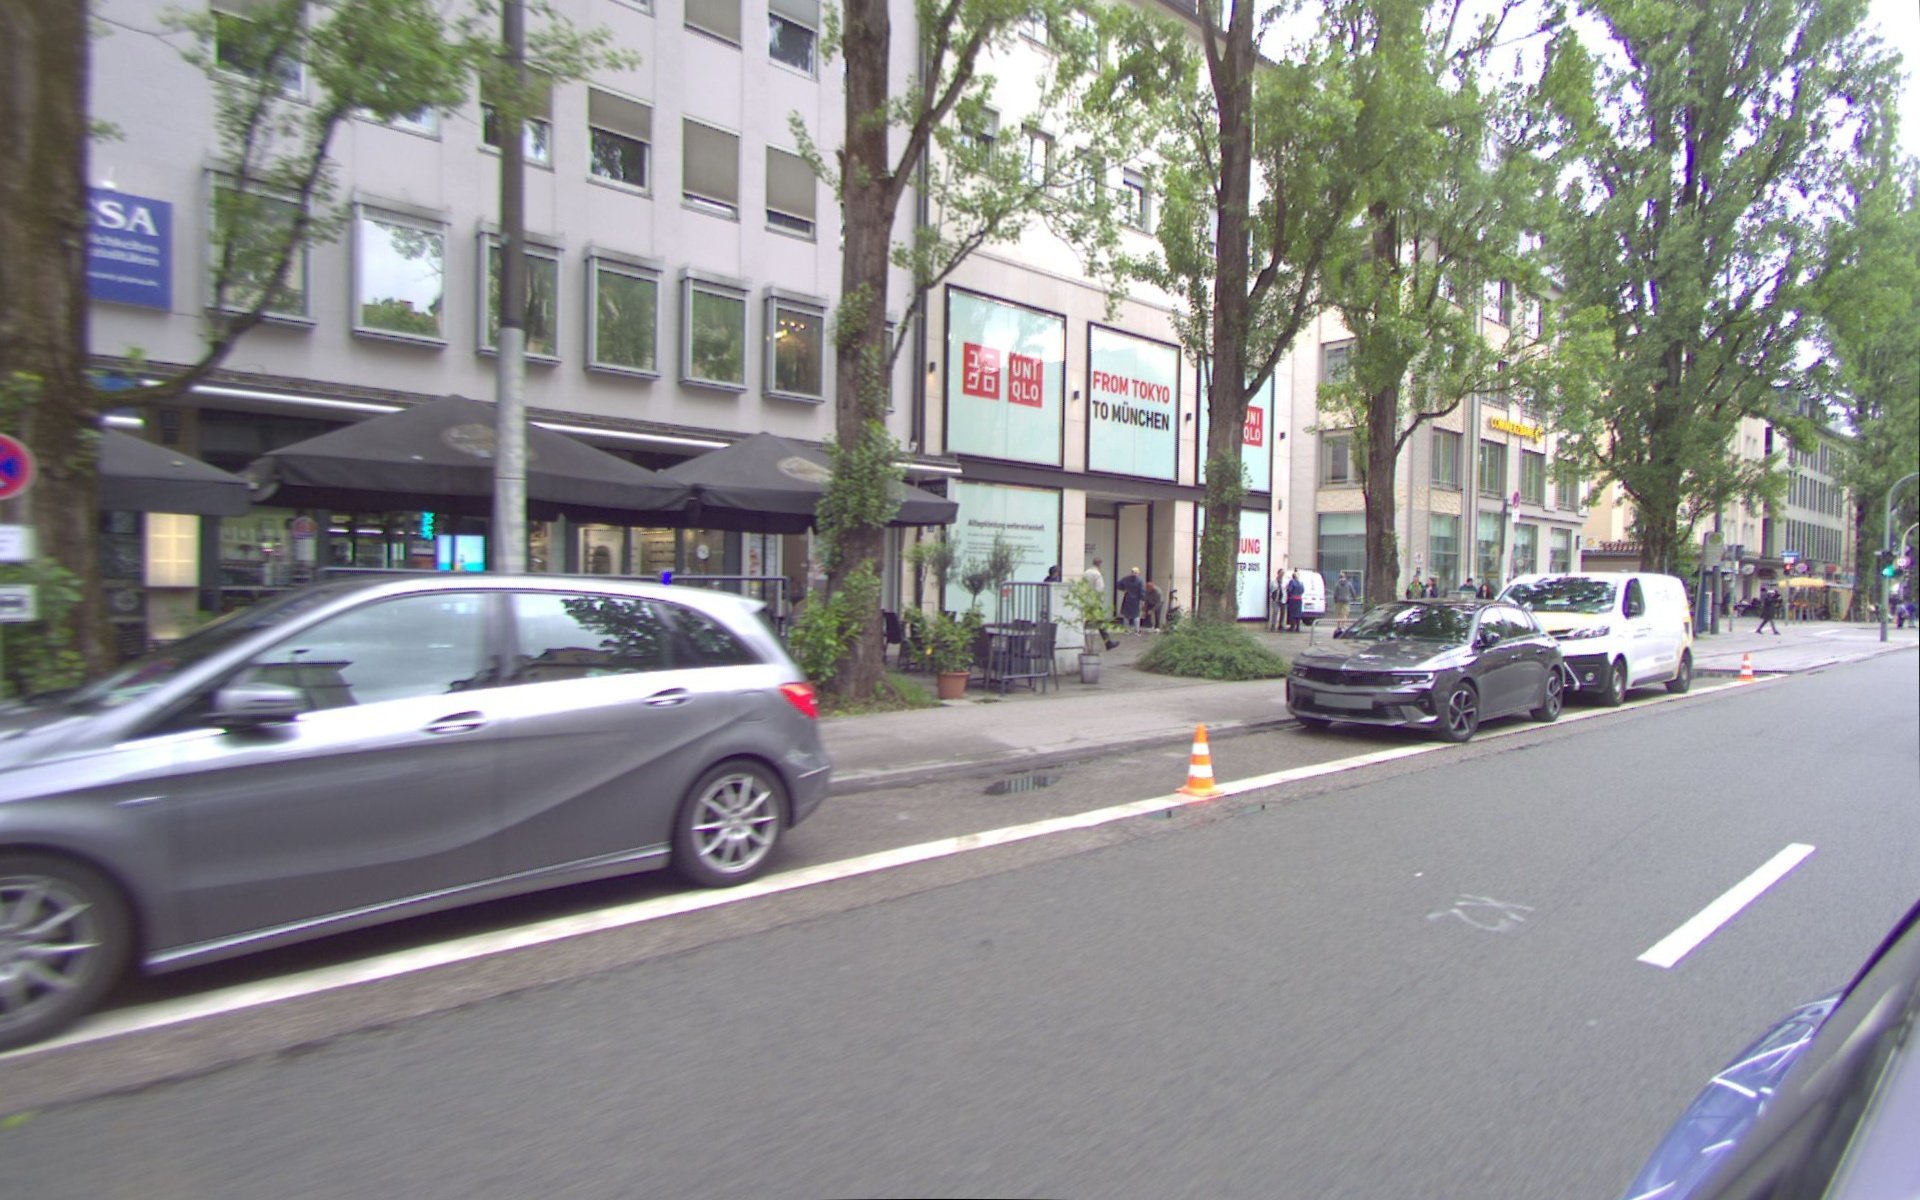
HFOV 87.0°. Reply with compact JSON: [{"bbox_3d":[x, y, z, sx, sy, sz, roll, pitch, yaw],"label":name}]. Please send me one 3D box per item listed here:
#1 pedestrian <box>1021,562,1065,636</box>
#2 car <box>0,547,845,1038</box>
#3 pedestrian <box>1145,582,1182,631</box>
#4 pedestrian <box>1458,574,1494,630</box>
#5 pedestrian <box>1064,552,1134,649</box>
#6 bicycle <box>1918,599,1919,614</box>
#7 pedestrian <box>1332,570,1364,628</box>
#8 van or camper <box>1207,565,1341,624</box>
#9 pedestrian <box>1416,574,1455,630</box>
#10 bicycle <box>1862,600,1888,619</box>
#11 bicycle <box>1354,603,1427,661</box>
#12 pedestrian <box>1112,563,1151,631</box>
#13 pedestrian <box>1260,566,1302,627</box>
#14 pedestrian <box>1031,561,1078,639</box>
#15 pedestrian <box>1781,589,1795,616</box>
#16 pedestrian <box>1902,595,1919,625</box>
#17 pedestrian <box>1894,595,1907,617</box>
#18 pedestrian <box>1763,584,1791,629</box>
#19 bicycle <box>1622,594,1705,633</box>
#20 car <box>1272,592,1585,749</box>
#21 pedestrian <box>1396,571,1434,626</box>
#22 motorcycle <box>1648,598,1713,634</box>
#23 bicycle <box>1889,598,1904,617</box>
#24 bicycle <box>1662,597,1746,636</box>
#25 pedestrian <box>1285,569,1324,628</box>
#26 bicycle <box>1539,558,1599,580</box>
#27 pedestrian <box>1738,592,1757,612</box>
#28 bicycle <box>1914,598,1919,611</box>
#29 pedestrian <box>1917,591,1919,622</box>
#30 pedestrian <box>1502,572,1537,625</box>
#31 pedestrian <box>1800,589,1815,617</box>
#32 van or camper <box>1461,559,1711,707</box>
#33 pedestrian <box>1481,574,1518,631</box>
[{"bbox_3d":[1.857,-0.030,22.672,0.671,1.629,0.672,0,1,-34],"label":"pedestrian"},{"bbox_3d":[-2.741,0.562,4.615,4.162,1.525,1.818,0,2,-44],"label":"car"},{"bbox_3d":[5.284,0.155,26.248,0.672,1.249,0.671,0,0,-39],"label":"pedestrian"},{"bbox_3d":[16.926,0.046,33.174,0.844,1.779,0.752,-2,3,-39],"label":"pedestrian"},{"bbox_3d":[2.767,-0.010,20.155,1.080,1.864,0.828,0,1,-40],"label":"pedestrian"},{"bbox_3d":[73.697,0.538,76.625,1.658,1.121,0.391,2,1,39],"label":"bicycle"},{"bbox_3d":[11.552,-0.035,30.162,0.815,1.694,0.981,1,1,19],"label":"pedestrian"},{"bbox_3d":[10.647,-0.187,34.565,1.862,1.890,4.117,0,1,-36],"label":"van or camper"},{"bbox_3d":[14.938,0.056,31.793,0.945,1.698,0.752,1,1,-39],"label":"pedestrian"},{"bbox_3d":[52.732,0.537,58.318,1.774,1.084,0.406,0,-4,-25],"label":"bicycle"},{"bbox_3d":[8.249,0.595,19.357,1.696,1.051,0.366,0,1,-33],"label":"bicycle"},{"bbox_3d":[4.255,-0.079,25.086,0.667,1.629,0.819,2,1,32],"label":"pedestrian"},{"bbox_3d":[9.424,-0.115,29.698,0.946,1.739,0.752,0,1,-40],"label":"pedestrian"},{"bbox_3d":[2.016,-0.004,21.577,0.757,1.629,0.672,0,0,-37],"label":"pedestrian"},{"bbox_3d":[51.907,0.137,63.436,0.526,1.694,0.542,1,1,-33],"label":"pedestrian"},{"bbox_3d":[49.812,0.500,52.765,0.608,1.536,0.768,0,2,4],"label":"pedestrian"},{"bbox_3d":[79.206,0.493,85.210,0.889,1.874,0.658,1,1,-39],"label":"pedestrian"},{"bbox_3d":[32.812,0.254,40.643,0.739,1.780,0.710,0,1,-39],"label":"pedestrian"},{"bbox_3d":[24.973,0.464,35.967,0.622,1.268,2.348,0,1,-40],"label":"bicycle"},{"bbox_3d":[5.441,0.651,11.491,4.280,1.460,1.721,0,0,-43],"label":"car"},{"bbox_3d":[14.678,-0.060,32.665,0.945,1.739,0.752,1,1,-39],"label":"pedestrian"},{"bbox_3d":[24.729,0.549,34.764,0.500,1.154,1.729,1,1,-38],"label":"motorcycle"},{"bbox_3d":[55.160,0.418,59.593,1.740,1.061,0.509,0,2,-43],"label":"bicycle"},{"bbox_3d":[26.159,0.551,35.623,0.469,1.268,2.320,1,1,-40],"label":"bicycle"},{"bbox_3d":[9.917,-0.054,29.132,0.946,1.683,0.653,0,1,-40],"label":"pedestrian"},{"bbox_3d":[36.953,-1.888,61.483,0.982,1.268,2.976,0,1,-40],"label":"bicycle"},{"bbox_3d":[50.404,0.124,64.779,0.687,1.280,0.777,0,1,-40],"label":"pedestrian"},{"bbox_3d":[70.705,0.349,73.527,1.997,0.957,0.282,2,1,42],"label":"bicycle"},{"bbox_3d":[51.450,0.344,53.823,0.850,1.630,0.766,0,1,-44],"label":"pedestrian"},{"bbox_3d":[19.890,-0.070,35.998,0.875,1.840,0.819,0,1,-42],"label":"pedestrian"},{"bbox_3d":[52.372,0.196,62.547,0.526,1.694,0.542,1,1,-33],"label":"pedestrian"},{"bbox_3d":[9.593,0.399,15.340,4.817,1.906,1.872,0,1,-41],"label":"van or camper"},{"bbox_3d":[17.308,0.053,32.454,0.844,1.779,0.752,-2,3,-39],"label":"pedestrian"}]
